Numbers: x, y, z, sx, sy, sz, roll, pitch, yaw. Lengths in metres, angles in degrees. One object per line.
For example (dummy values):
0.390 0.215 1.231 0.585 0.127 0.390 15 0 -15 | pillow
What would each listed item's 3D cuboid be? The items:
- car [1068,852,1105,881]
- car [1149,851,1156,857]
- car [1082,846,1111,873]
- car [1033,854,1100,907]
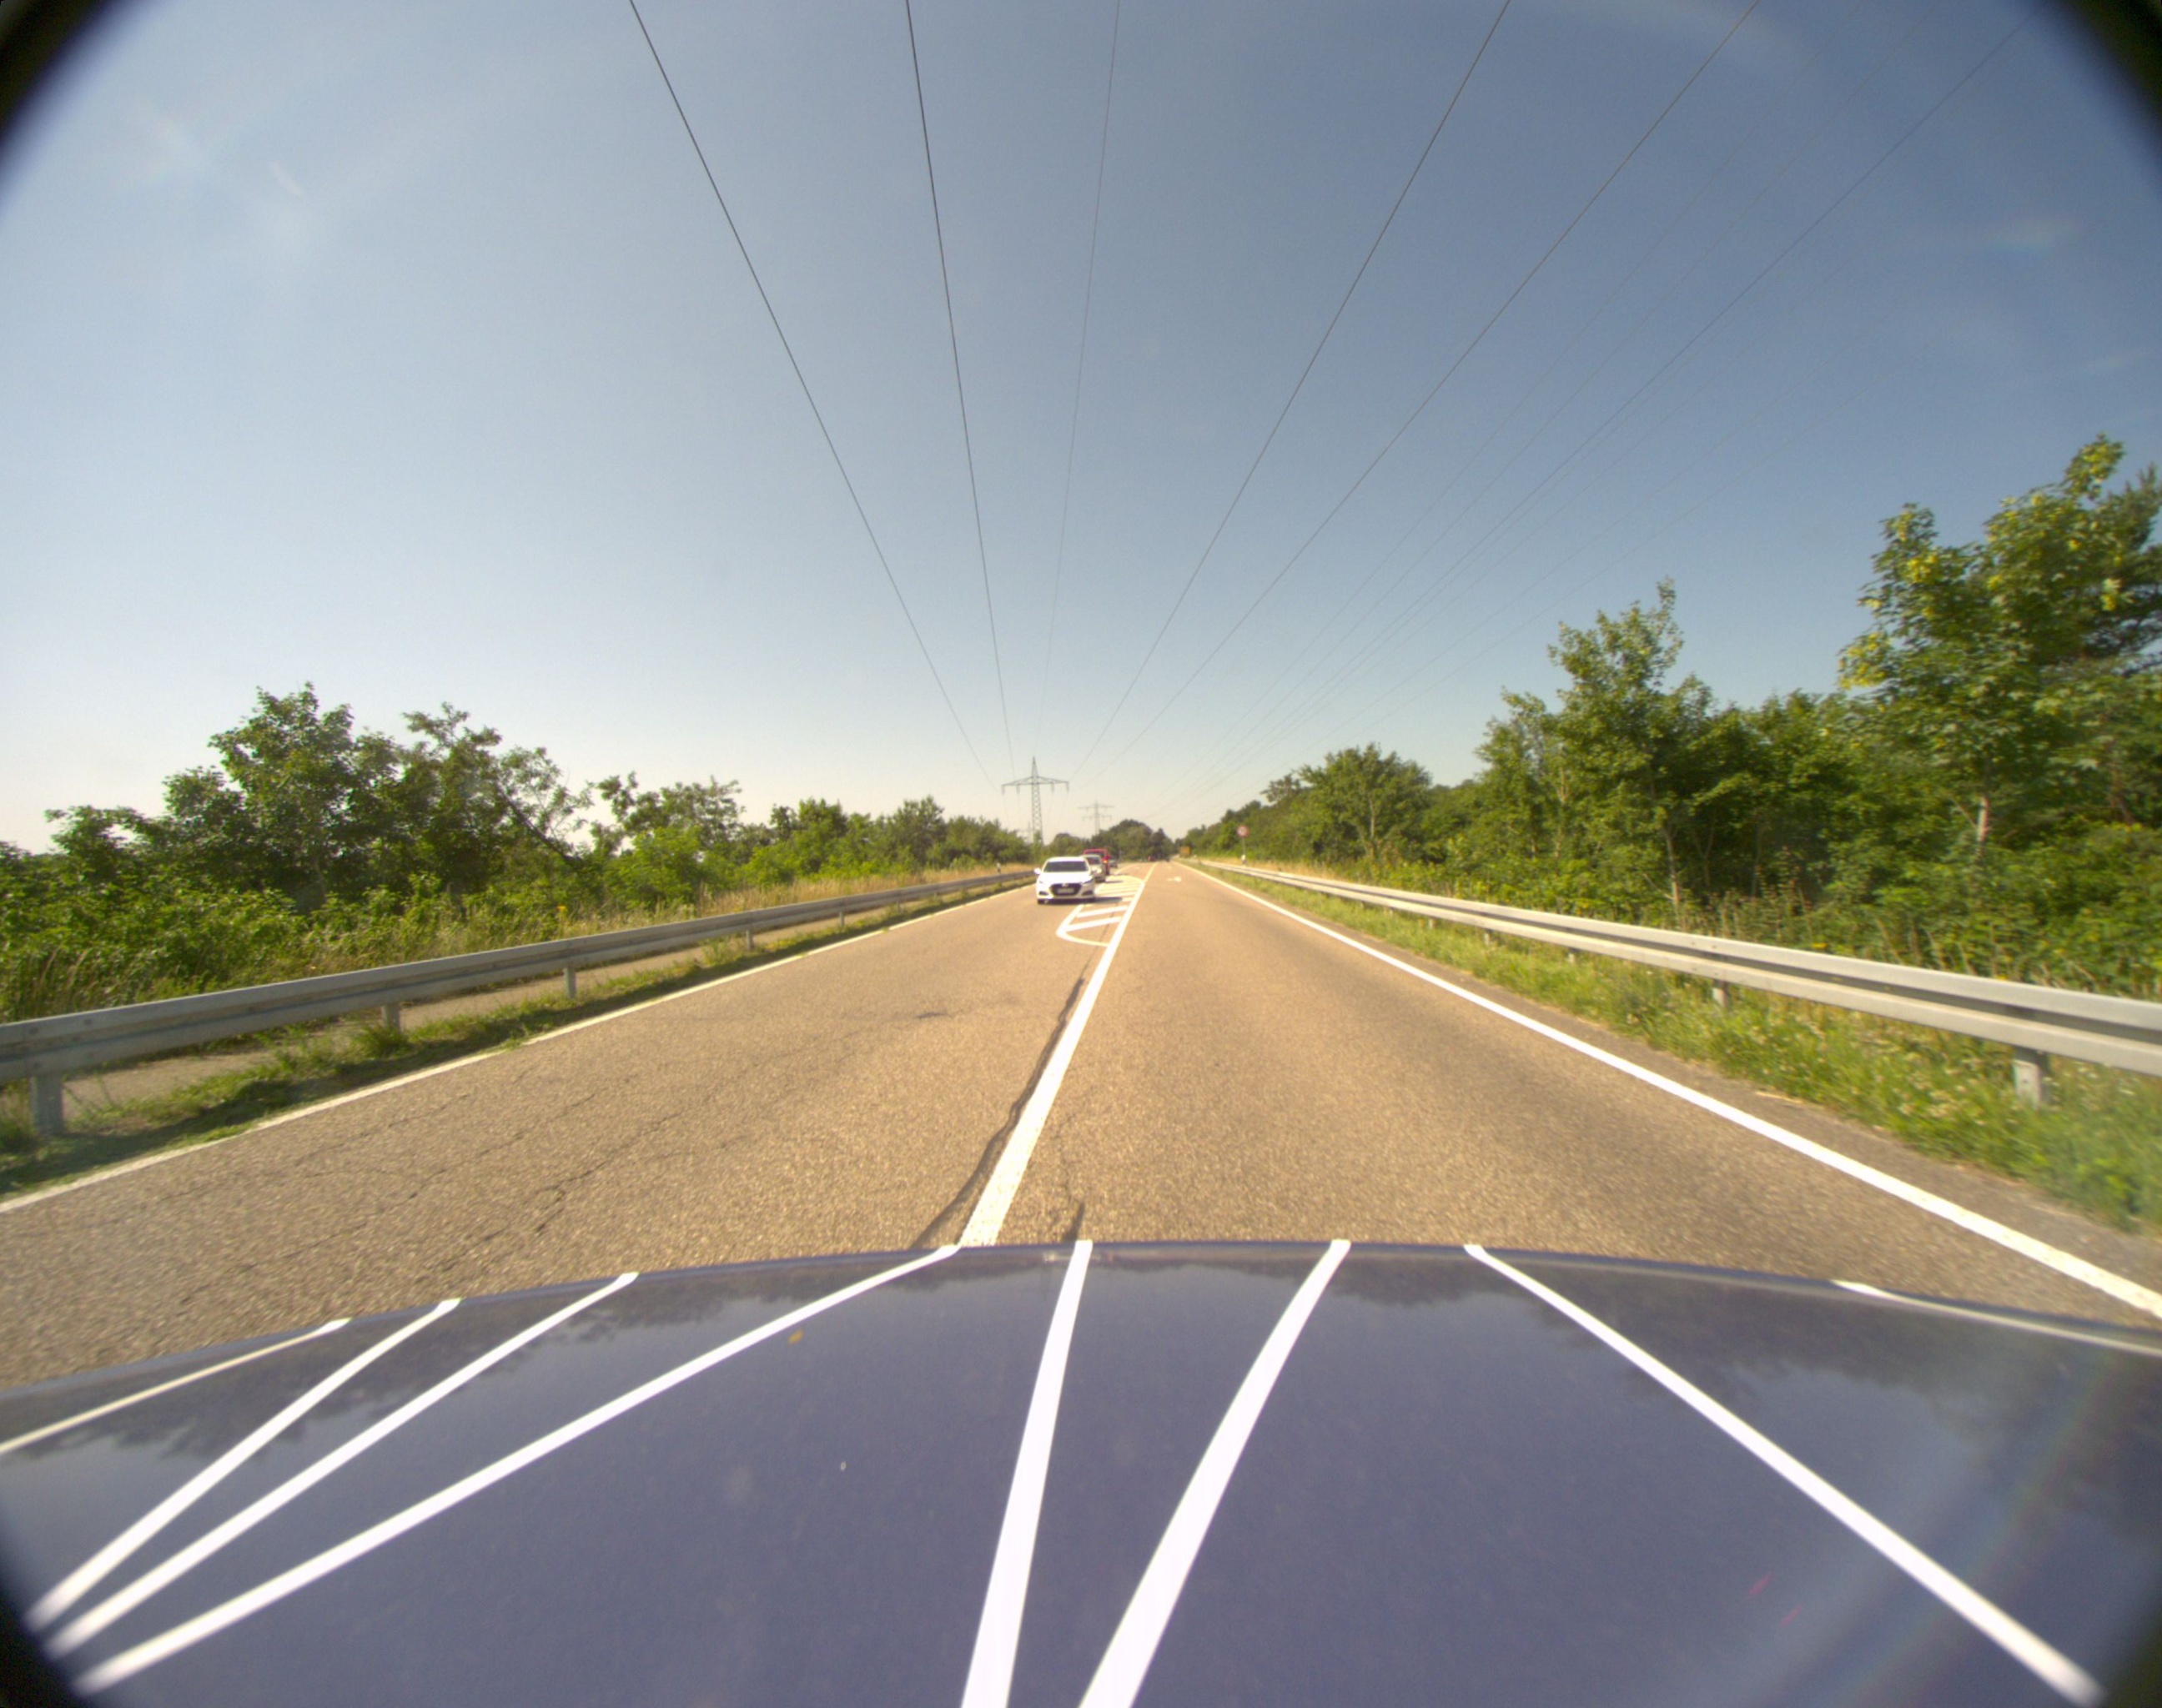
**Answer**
0.375 0.677 43.965 1.922 1.540 4.794 -2 0 2 | car
18.887 -0.011 201.400 1.833 1.574 4.001 0 0 4 | car
1.254 0.387 58.563 2.126 1.934 5.019 -2 0 2 | car
-0.376 0.805 25.098 1.922 1.496 4.794 -2 0 2 | car
